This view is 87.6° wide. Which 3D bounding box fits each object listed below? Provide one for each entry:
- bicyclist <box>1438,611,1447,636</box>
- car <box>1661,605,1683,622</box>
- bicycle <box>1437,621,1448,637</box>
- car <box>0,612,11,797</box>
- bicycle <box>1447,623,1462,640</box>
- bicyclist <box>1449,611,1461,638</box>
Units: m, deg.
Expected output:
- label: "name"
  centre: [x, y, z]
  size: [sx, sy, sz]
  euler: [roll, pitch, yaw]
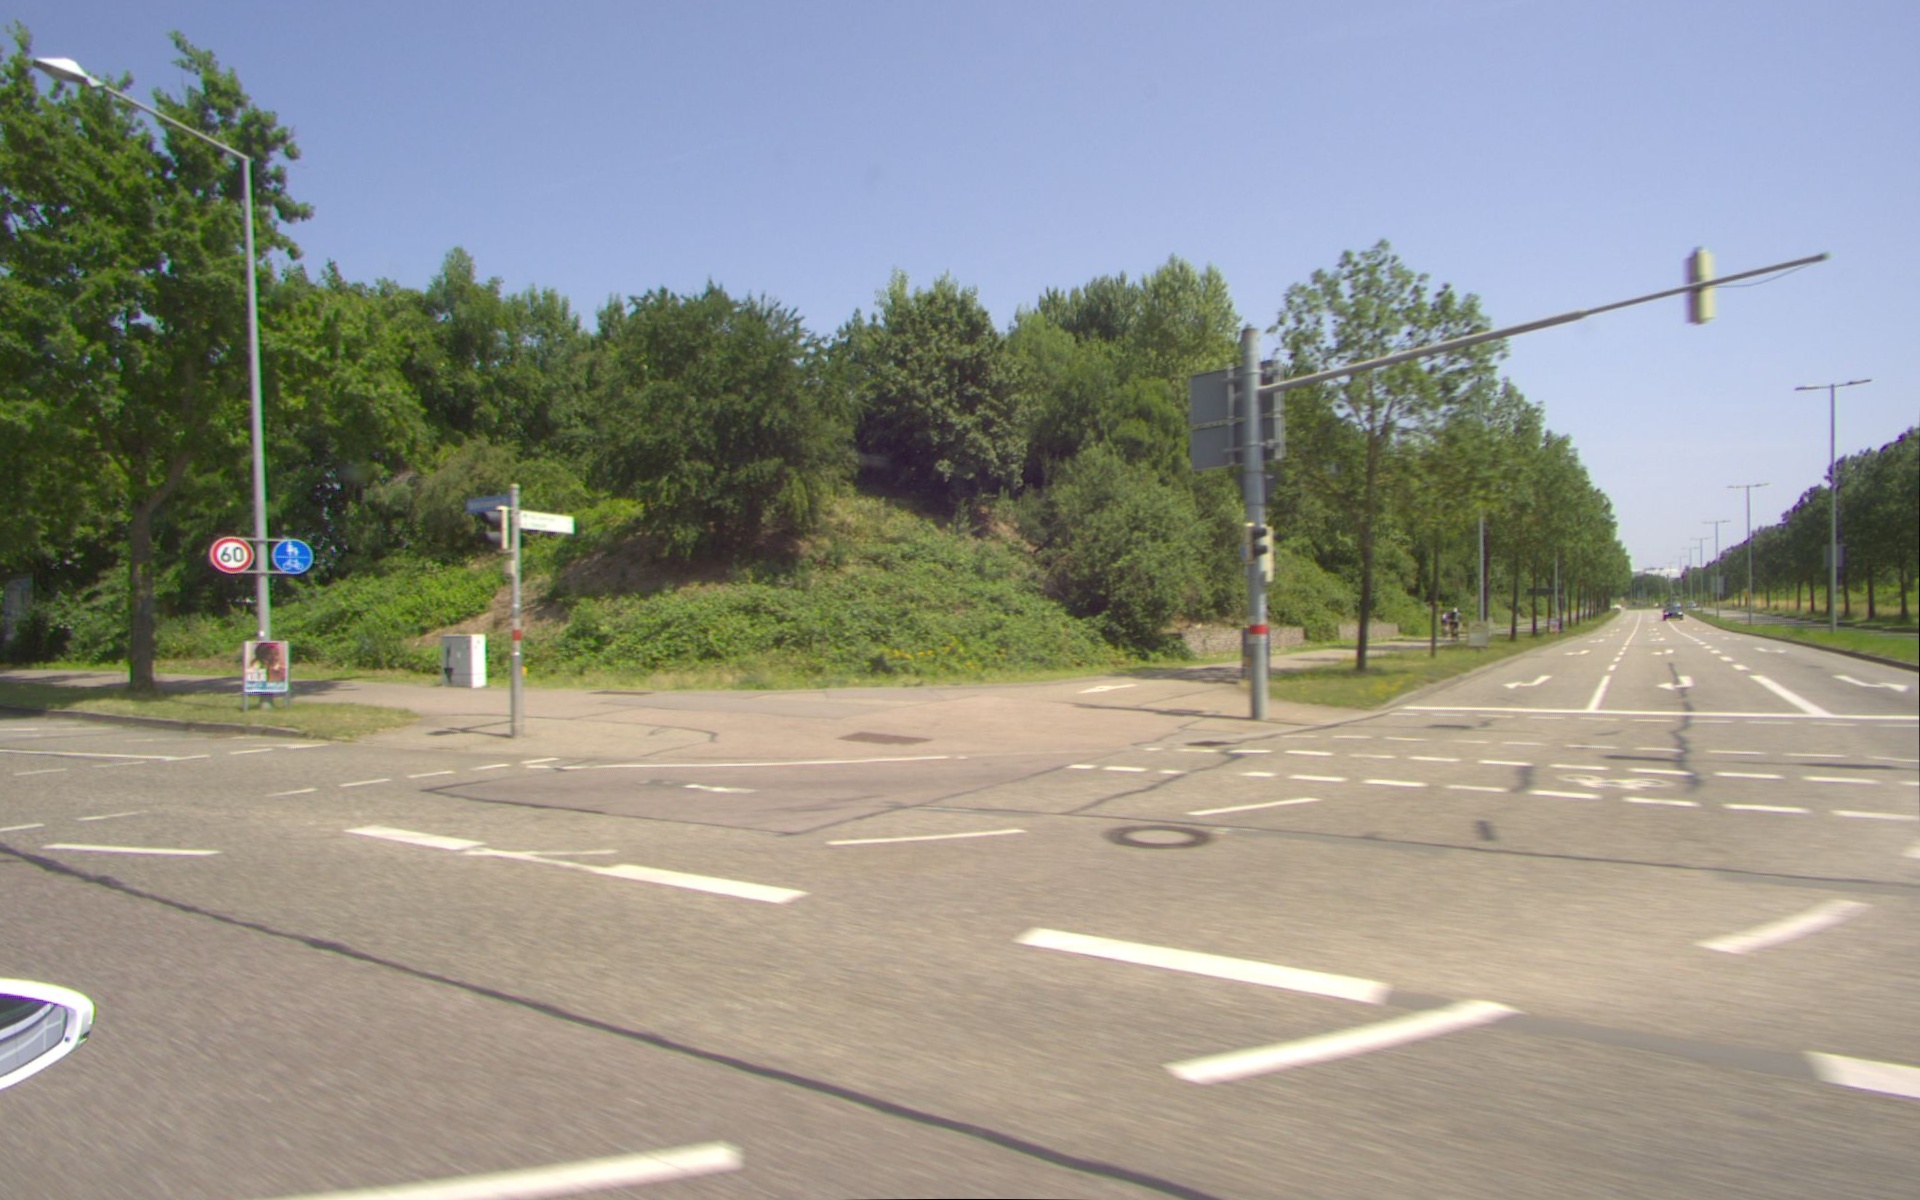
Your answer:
- label: "bicyclist"
  centre: [28.198, 1.374, 58.512]
  size: [0.415, 1.400, 0.487]
  euler: [0, 0, 38]
- label: "car"
  centre: [85.725, 1.615, 120.515]
  size: [1.976, 2.040, 3.971]
  euler: [-1, -1, 39]
- label: "bicycle"
  centre: [28.216, 1.686, 58.542]
  size: [0.373, 0.896, 1.115]
  euler: [0, 0, 37]
- label: "car"
  centre: [-10.534, 0.948, 9.140]
  size: [3.834, 1.633, 1.789]
  euler: [-1, 0, 32]
- label: "bicycle"
  centre: [26.688, 1.708, 54.007]
  size: [0.435, 0.896, 1.443]
  euler: [0, 0, 37]
- label: "bicyclist"
  centre: [26.623, 1.294, 53.896]
  size: [0.478, 1.452, 0.487]
  euler: [0, 0, 38]
